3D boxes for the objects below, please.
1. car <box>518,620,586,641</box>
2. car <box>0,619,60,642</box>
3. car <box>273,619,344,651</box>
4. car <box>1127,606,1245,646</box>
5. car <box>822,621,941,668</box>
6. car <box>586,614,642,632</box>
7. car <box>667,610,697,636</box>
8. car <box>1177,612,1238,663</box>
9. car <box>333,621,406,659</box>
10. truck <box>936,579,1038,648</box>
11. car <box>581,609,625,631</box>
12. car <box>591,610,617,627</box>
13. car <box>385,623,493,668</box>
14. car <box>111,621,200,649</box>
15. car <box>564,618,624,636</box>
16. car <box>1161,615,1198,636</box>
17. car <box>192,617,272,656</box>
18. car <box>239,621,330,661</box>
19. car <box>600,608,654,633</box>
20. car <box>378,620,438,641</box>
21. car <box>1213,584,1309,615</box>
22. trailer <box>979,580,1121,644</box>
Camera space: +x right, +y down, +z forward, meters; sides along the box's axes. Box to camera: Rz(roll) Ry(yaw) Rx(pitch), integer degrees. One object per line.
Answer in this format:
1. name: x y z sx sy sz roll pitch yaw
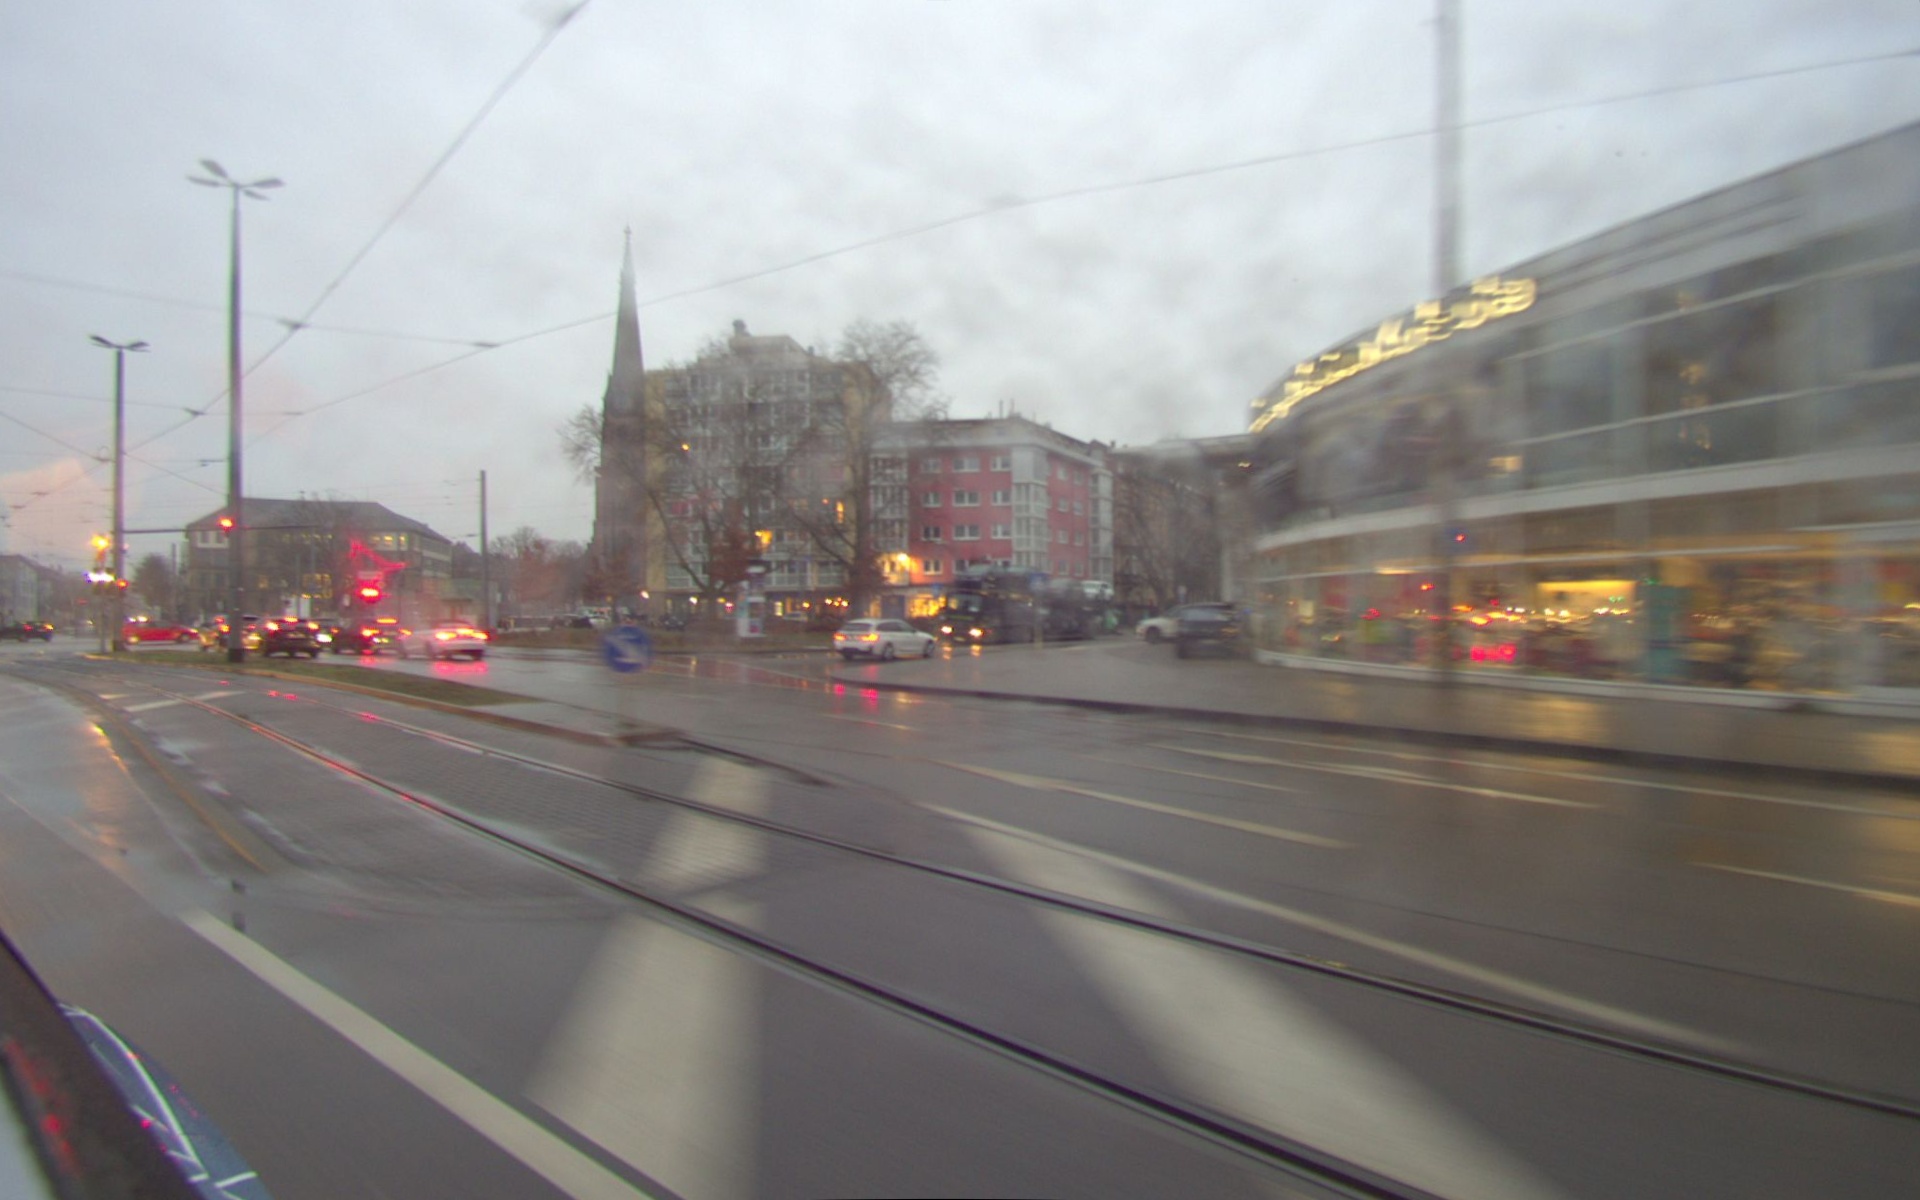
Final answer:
1. car: -28.453 2.129 70.706 3.948 1.320 1.998 -1 0 4
2. car: -66.765 2.193 72.588 3.978 1.564 1.983 -1 0 26
3. car: -29.296 1.546 45.462 3.999 1.368 1.706 -1 -1 42
4. car: 9.238 1.056 41.463 4.405 1.534 1.865 -1 0 31
5. car: -2.728 1.547 36.379 1.992 1.509 4.762 -1 -1 30
6. car: -28.339 1.870 82.943 3.948 1.320 1.998 -1 0 4
7. car: -23.166 1.905 84.396 1.968 2.029 4.008 -1 0 -9
8. car: 7.724 1.129 31.805 1.725 1.409 4.276 -1 0 13
9. car: -23.482 1.553 40.186 3.471 1.429 1.583 -1 -1 43
10. truck: 1.570 0.671 54.466 2.647 3.443 6.687 -1 0 30
11. car: -34.957 1.978 99.035 3.930 2.029 2.007 -1 0 -24
12. car: -39.108 2.034 111.261 1.797 1.807 4.574 -1 0 -7
13. car: -18.407 1.560 35.671 4.587 1.432 1.972 -1 -1 43
14. car: -48.905 2.098 61.555 4.035 1.541 2.002 -1 0 -44
15. car: -28.541 2.121 78.898 3.948 1.320 1.998 -1 0 4
16. car: 18.666 2.152 85.945 1.992 1.674 3.959 -1 -1 30
17. car: -29.956 1.452 41.624 3.999 1.497 1.880 -1 -1 42
18. car: -24.651 1.473 36.865 4.000 1.401 1.851 -1 -3 43
19. car: -28.370 1.755 86.385 3.948 2.029 1.998 -1 0 4
20. car: -42.483 2.336 77.933 3.970 1.575 1.987 -1 0 21
21. car: 15.534 0.000 52.272 4.405 1.534 1.865 -1 0 31
22. trailer: 5.923 0.607 61.994 2.626 3.443 14.903 -1 0 30
